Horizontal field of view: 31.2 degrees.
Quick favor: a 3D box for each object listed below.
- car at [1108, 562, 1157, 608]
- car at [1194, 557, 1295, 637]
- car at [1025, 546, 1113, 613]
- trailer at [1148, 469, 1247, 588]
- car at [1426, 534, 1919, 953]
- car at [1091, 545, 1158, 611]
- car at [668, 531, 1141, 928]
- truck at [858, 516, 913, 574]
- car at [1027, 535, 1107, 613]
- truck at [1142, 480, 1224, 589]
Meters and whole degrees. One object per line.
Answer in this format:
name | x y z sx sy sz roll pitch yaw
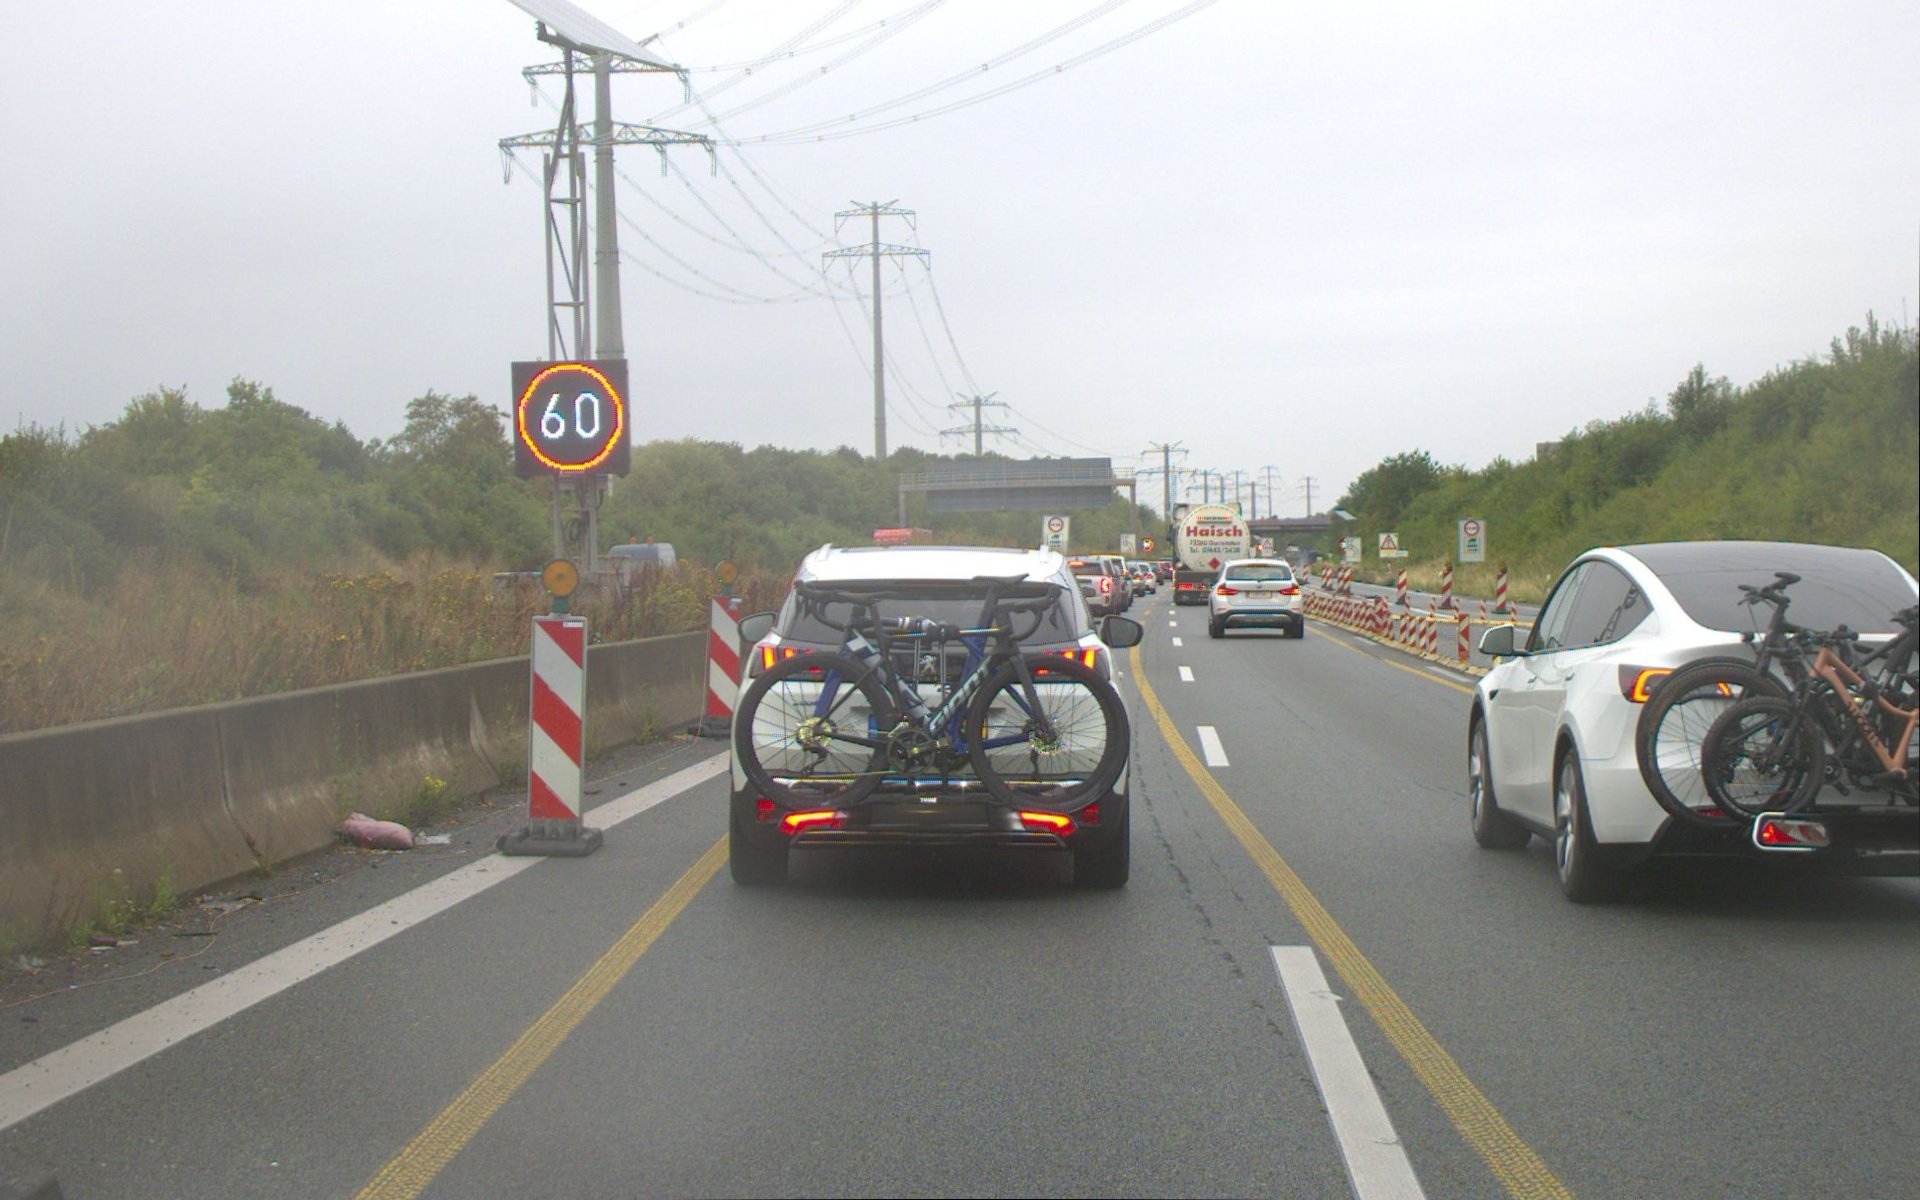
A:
car | 7.780 -0.683 155.708 1.993 2.007 4.000 1 0 0
car | 5.542 -0.084 67.394 1.870 1.529 4.196 0 1 3
car | 2.611 -0.509 82.970 1.993 1.578 4.000 0 1 0
trailer | 8.113 -2.367 118.679 2.637 3.880 10.543 1 0 0
car | 3.603 0.525 16.046 2.045 1.590 5.801 1 1 0
car | 5.379 -0.733 112.822 1.993 2.006 4.001 1 2 0
car | -0.134 0.496 16.326 1.928 1.605 4.595 0 1 2
truck | -4.600 -3.398 213.237 3.024 3.519 4.926 1 0 2
car | 2.873 -0.722 93.164 1.993 2.007 4.000 -1 1 0
truck | 8.104 -2.363 125.327 2.644 3.877 4.030 1 0 0
